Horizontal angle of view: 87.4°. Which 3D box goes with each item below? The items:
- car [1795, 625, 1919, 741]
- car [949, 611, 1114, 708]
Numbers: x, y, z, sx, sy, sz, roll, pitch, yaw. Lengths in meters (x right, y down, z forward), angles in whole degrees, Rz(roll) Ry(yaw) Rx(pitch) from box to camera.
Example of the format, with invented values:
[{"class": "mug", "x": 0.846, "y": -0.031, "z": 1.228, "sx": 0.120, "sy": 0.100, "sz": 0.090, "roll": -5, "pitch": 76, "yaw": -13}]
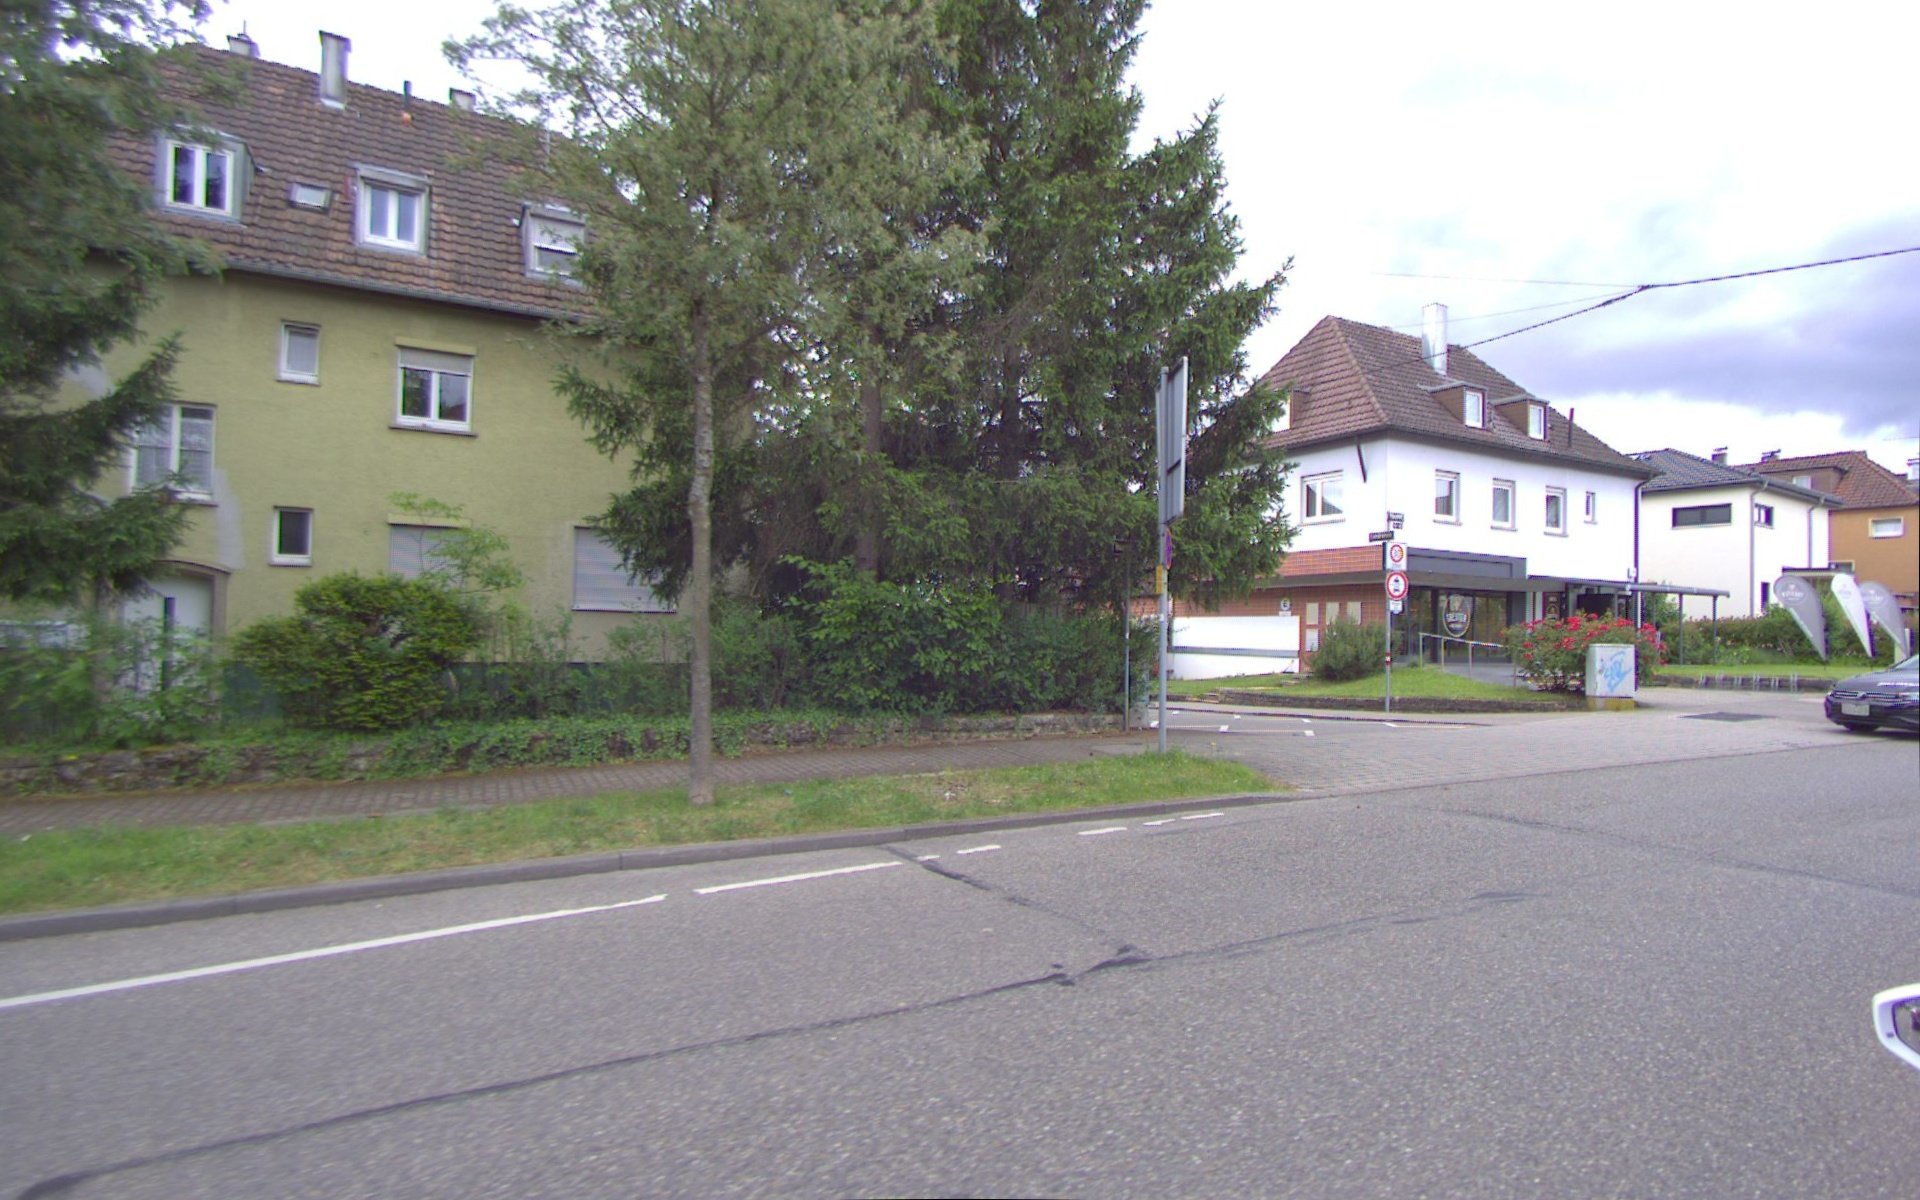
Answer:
[{"class": "car", "x": 15.698, "y": 1.207, "z": 15.296, "sx": 4.561, "sy": 1.642, "sz": 1.998, "roll": 0, "pitch": -2, "yaw": -7}, {"class": "car", "x": 1.986, "y": 1.772, "z": 29.902, "sx": 2.106, "sy": 2.596, "sz": 5.578, "roll": 2, "pitch": -4, "yaw": -31}]
